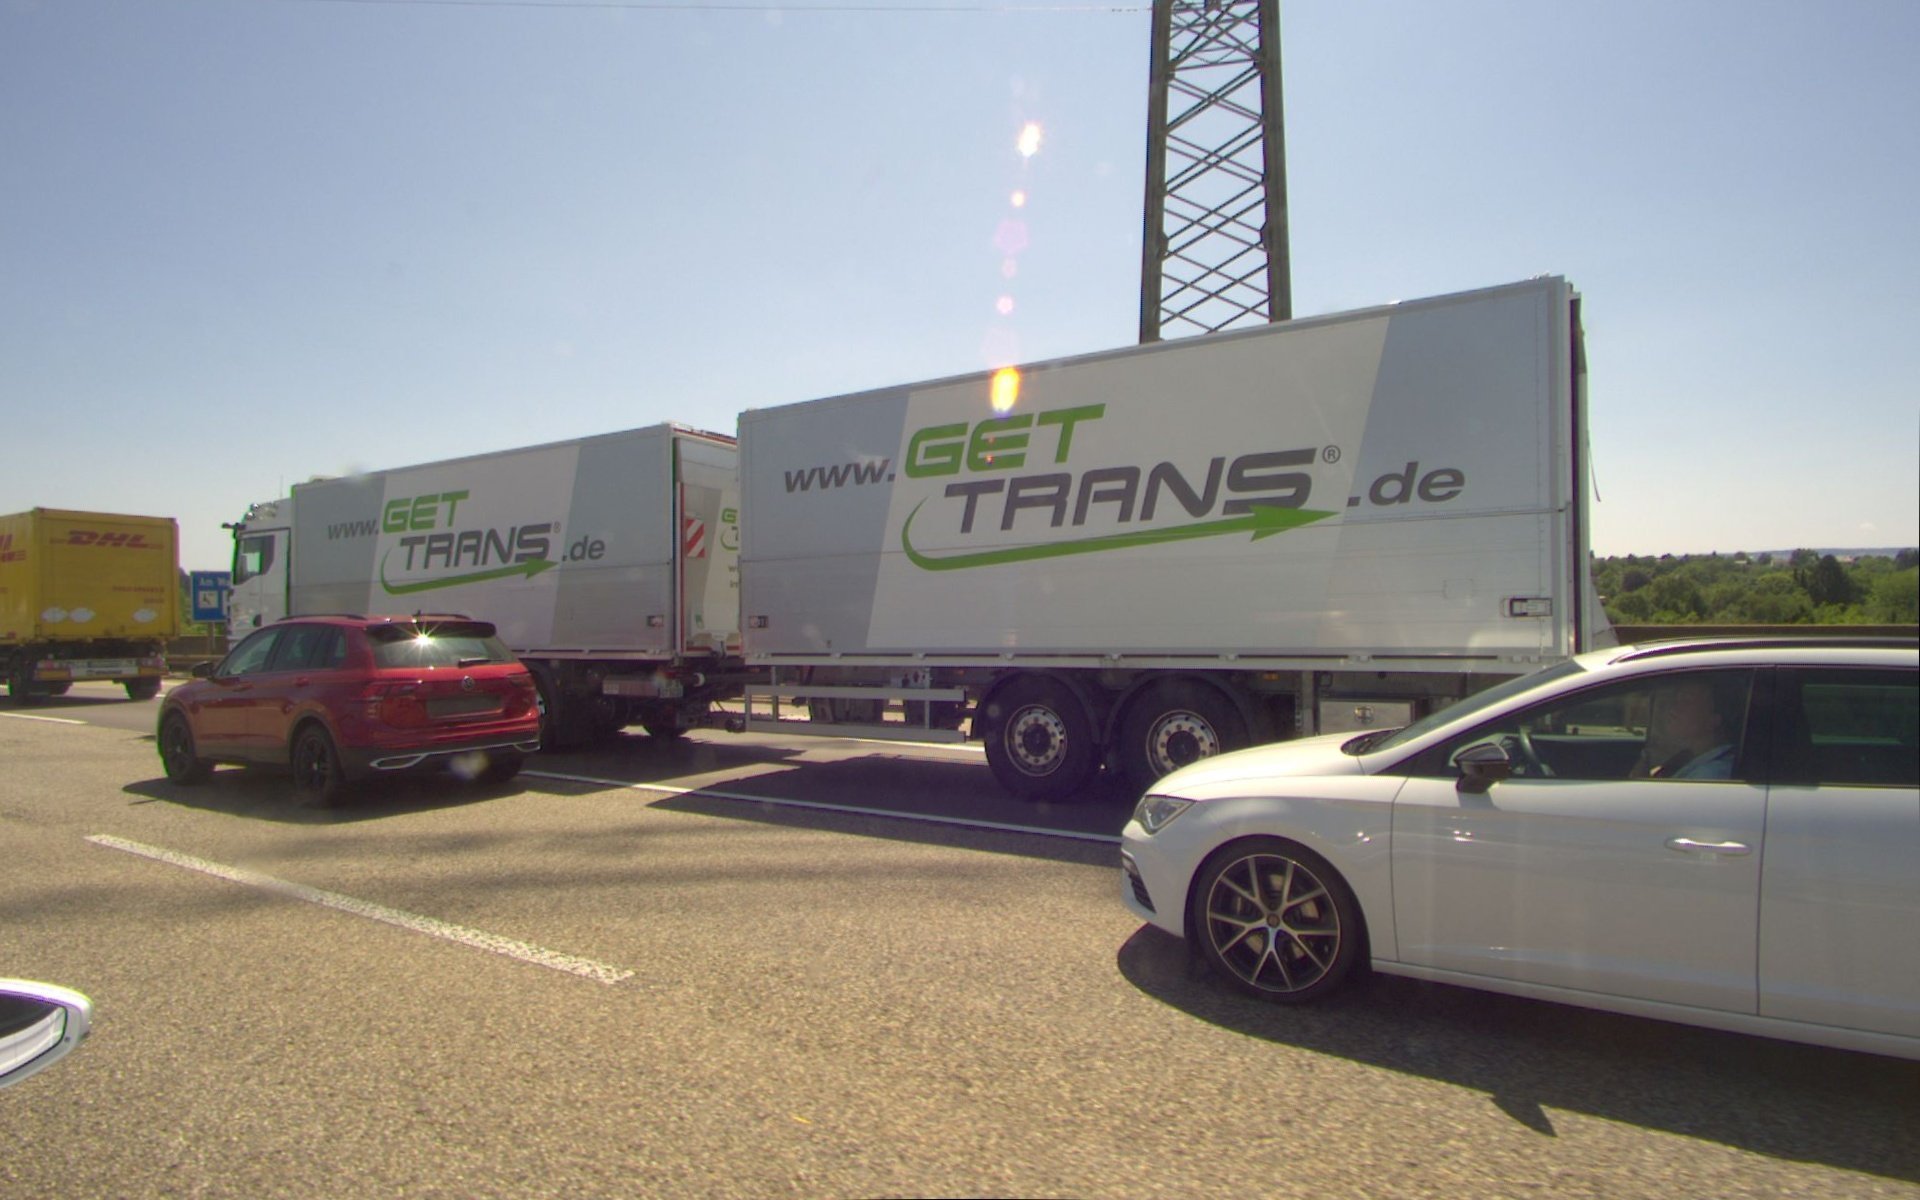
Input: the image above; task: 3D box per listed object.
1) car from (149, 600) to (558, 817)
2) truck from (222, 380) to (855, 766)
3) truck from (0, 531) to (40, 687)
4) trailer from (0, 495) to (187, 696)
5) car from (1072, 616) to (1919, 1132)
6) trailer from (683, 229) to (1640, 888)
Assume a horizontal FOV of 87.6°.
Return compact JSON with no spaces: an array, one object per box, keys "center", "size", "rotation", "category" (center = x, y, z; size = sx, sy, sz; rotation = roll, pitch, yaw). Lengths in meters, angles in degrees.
[{"center":[-5.971,0.929,9.722],"size":[4.224,1.700,1.705],"rotation":[-2,-2,32],"category":"car"},{"center":[-6.513,-0.090,14.328],"size":[10.458,3.984,2.847],"rotation":[-2,-2,32],"category":"truck"},{"center":[-30.032,0.353,28.750],"size":[9.796,4.139,2.696],"rotation":[-2,-2,31],"category":"truck"},{"center":[-22.116,0.072,23.963],"size":[8.850,4.139,2.679],"rotation":[-2,-2,31],"category":"trailer"},{"center":[2.770,0.814,3.850],"size":[4.365,1.470,1.706],"rotation":[-1,-2,32],"category":"car"},{"center":[1.333,-0.100,9.364],"size":[8.097,3.940,2.894],"rotation":[-2,-2,32],"category":"trailer"}]
